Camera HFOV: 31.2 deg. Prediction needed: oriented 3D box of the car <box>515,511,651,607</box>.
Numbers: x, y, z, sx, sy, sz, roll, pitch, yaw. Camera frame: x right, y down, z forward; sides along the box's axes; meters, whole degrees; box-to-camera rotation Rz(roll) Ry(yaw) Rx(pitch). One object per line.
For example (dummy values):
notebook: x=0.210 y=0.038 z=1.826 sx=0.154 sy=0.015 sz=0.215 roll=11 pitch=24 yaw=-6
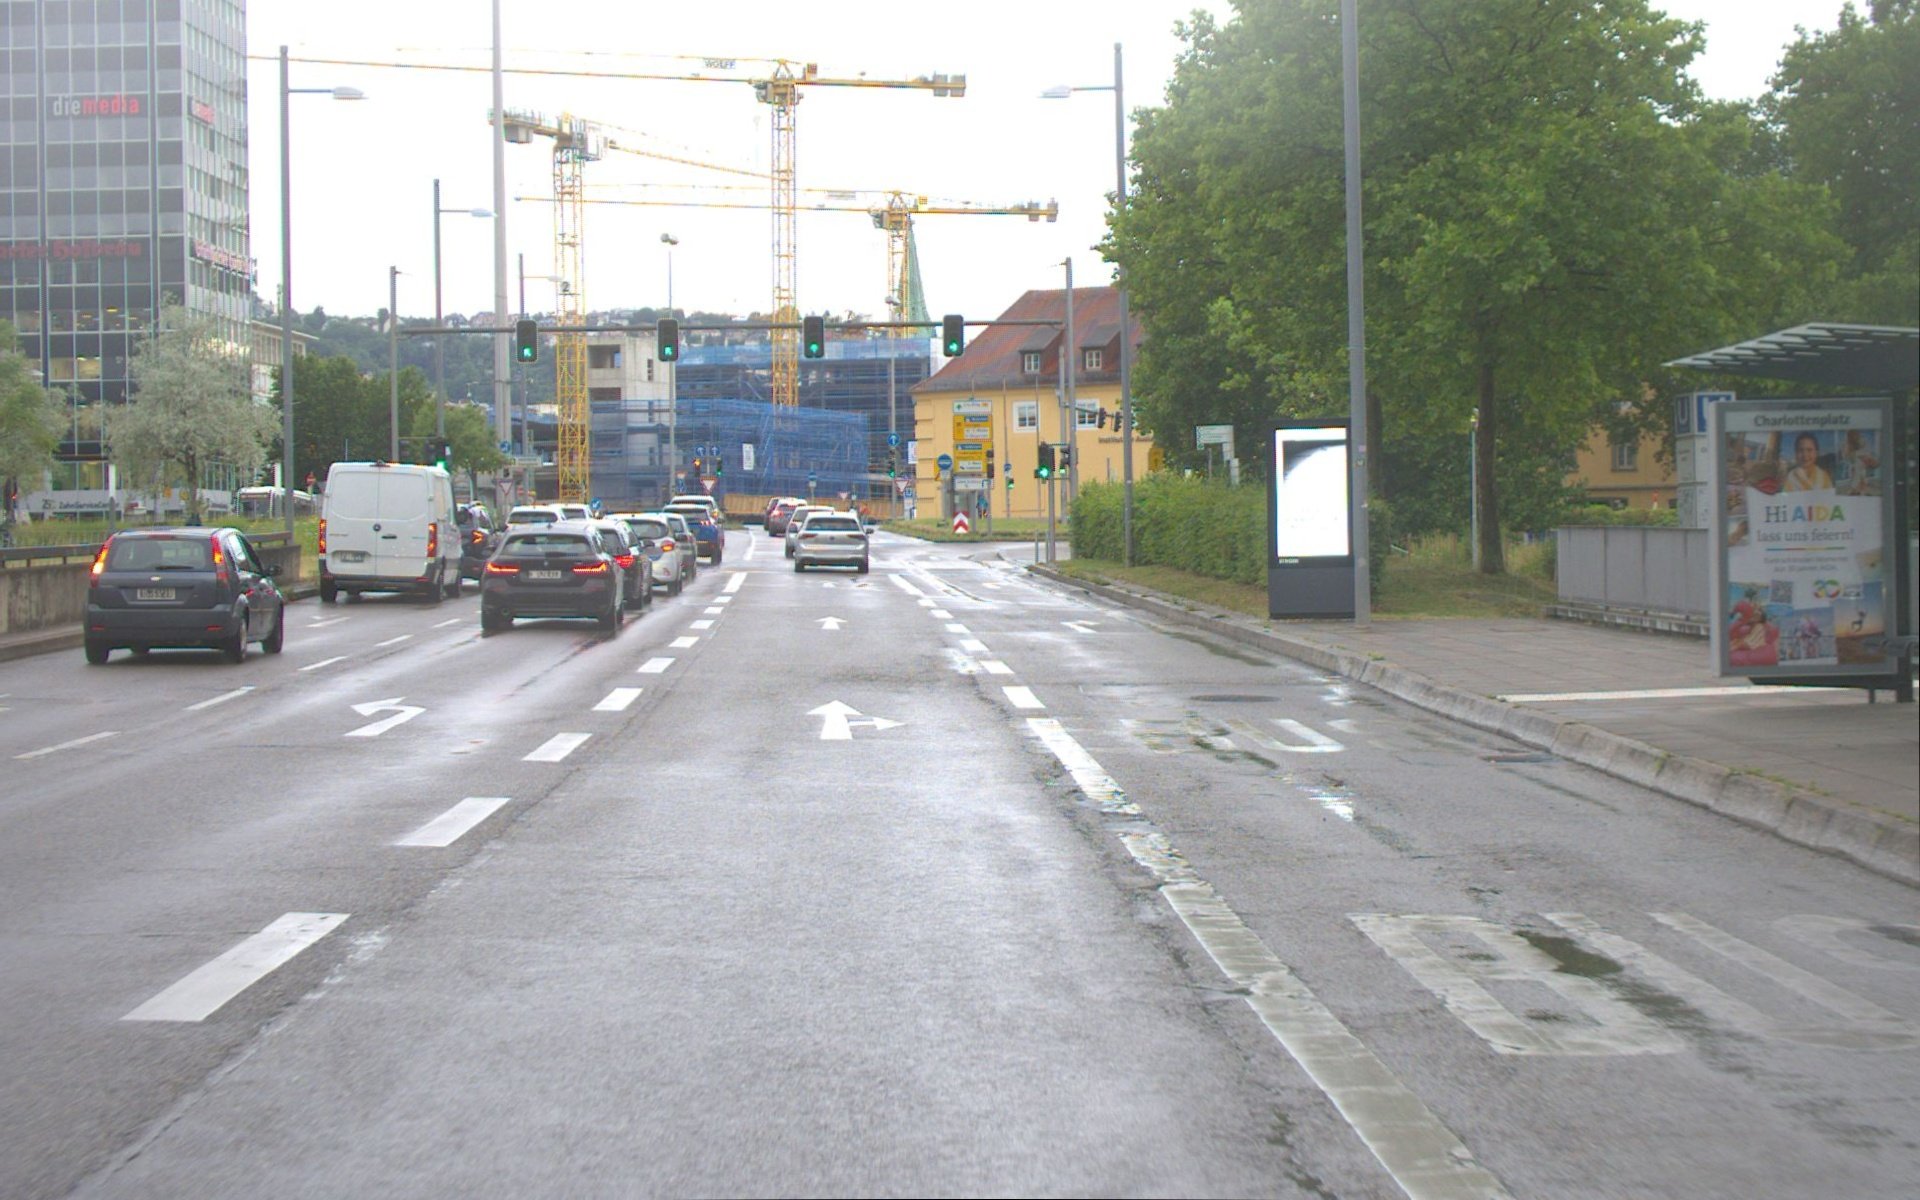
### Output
car: x=-6.068 y=-0.652 z=55.677 sx=1.830 sy=1.489 sz=3.399 roll=1 pitch=0 yaw=0

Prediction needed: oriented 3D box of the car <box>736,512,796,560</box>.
car: x=-7.800 y=-2.570 z=138.561 sx=2.161 sy=1.873 sz=3.770 roll=1 pitch=0 yaw=1

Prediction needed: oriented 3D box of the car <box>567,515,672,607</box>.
car: x=-6.337 y=-0.717 z=64.121 sx=1.880 sy=1.647 sz=3.458 roll=1 pitch=0 yaw=-5

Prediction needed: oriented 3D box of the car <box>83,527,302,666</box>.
car: x=-8.249 y=-0.049 z=37.223 sx=1.542 sy=1.410 sz=3.902 roll=1 pitch=0 yaw=-1

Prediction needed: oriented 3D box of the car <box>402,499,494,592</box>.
car: x=-9.672 y=-1.008 z=65.100 sx=1.464 sy=1.700 sz=3.142 roll=1 pitch=0 yaw=-4

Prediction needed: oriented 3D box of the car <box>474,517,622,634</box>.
car: x=-5.610 y=-0.373 z=47.209 sx=1.753 sy=1.466 sz=4.223 roll=0 pitch=2 yaw=-3

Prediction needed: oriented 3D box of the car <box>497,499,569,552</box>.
car: x=-10.571 y=-1.837 z=85.253 sx=1.551 sy=1.256 sz=2.581 roll=1 pitch=0 yaw=-2

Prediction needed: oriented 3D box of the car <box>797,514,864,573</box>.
car: x=-3.053 y=-1.325 z=81.422 sx=1.444 sy=1.354 sz=2.412 roll=1 pitch=0 yaw=1

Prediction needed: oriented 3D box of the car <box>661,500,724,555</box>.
car: x=-6.889 y=-1.860 z=88.717 sx=1.493 sy=1.365 sz=3.033 roll=1 pitch=0 yaw=-3

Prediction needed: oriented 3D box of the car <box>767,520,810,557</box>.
car: x=-4.814 y=-1.723 z=96.766 sx=1.076 sy=0.987 sz=1.971 roll=1 pitch=-1 yaw=1

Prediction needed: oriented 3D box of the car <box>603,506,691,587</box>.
car: x=-6.840 y=-1.150 z=75.383 sx=1.716 sy=1.721 sz=3.495 roll=1 pitch=0 yaw=-2

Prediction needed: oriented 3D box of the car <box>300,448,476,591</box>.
car: x=-9.697 y=-1.329 z=58.713 sx=2.292 sy=2.306 sz=5.006 roll=1 pitch=0 yaw=-2
